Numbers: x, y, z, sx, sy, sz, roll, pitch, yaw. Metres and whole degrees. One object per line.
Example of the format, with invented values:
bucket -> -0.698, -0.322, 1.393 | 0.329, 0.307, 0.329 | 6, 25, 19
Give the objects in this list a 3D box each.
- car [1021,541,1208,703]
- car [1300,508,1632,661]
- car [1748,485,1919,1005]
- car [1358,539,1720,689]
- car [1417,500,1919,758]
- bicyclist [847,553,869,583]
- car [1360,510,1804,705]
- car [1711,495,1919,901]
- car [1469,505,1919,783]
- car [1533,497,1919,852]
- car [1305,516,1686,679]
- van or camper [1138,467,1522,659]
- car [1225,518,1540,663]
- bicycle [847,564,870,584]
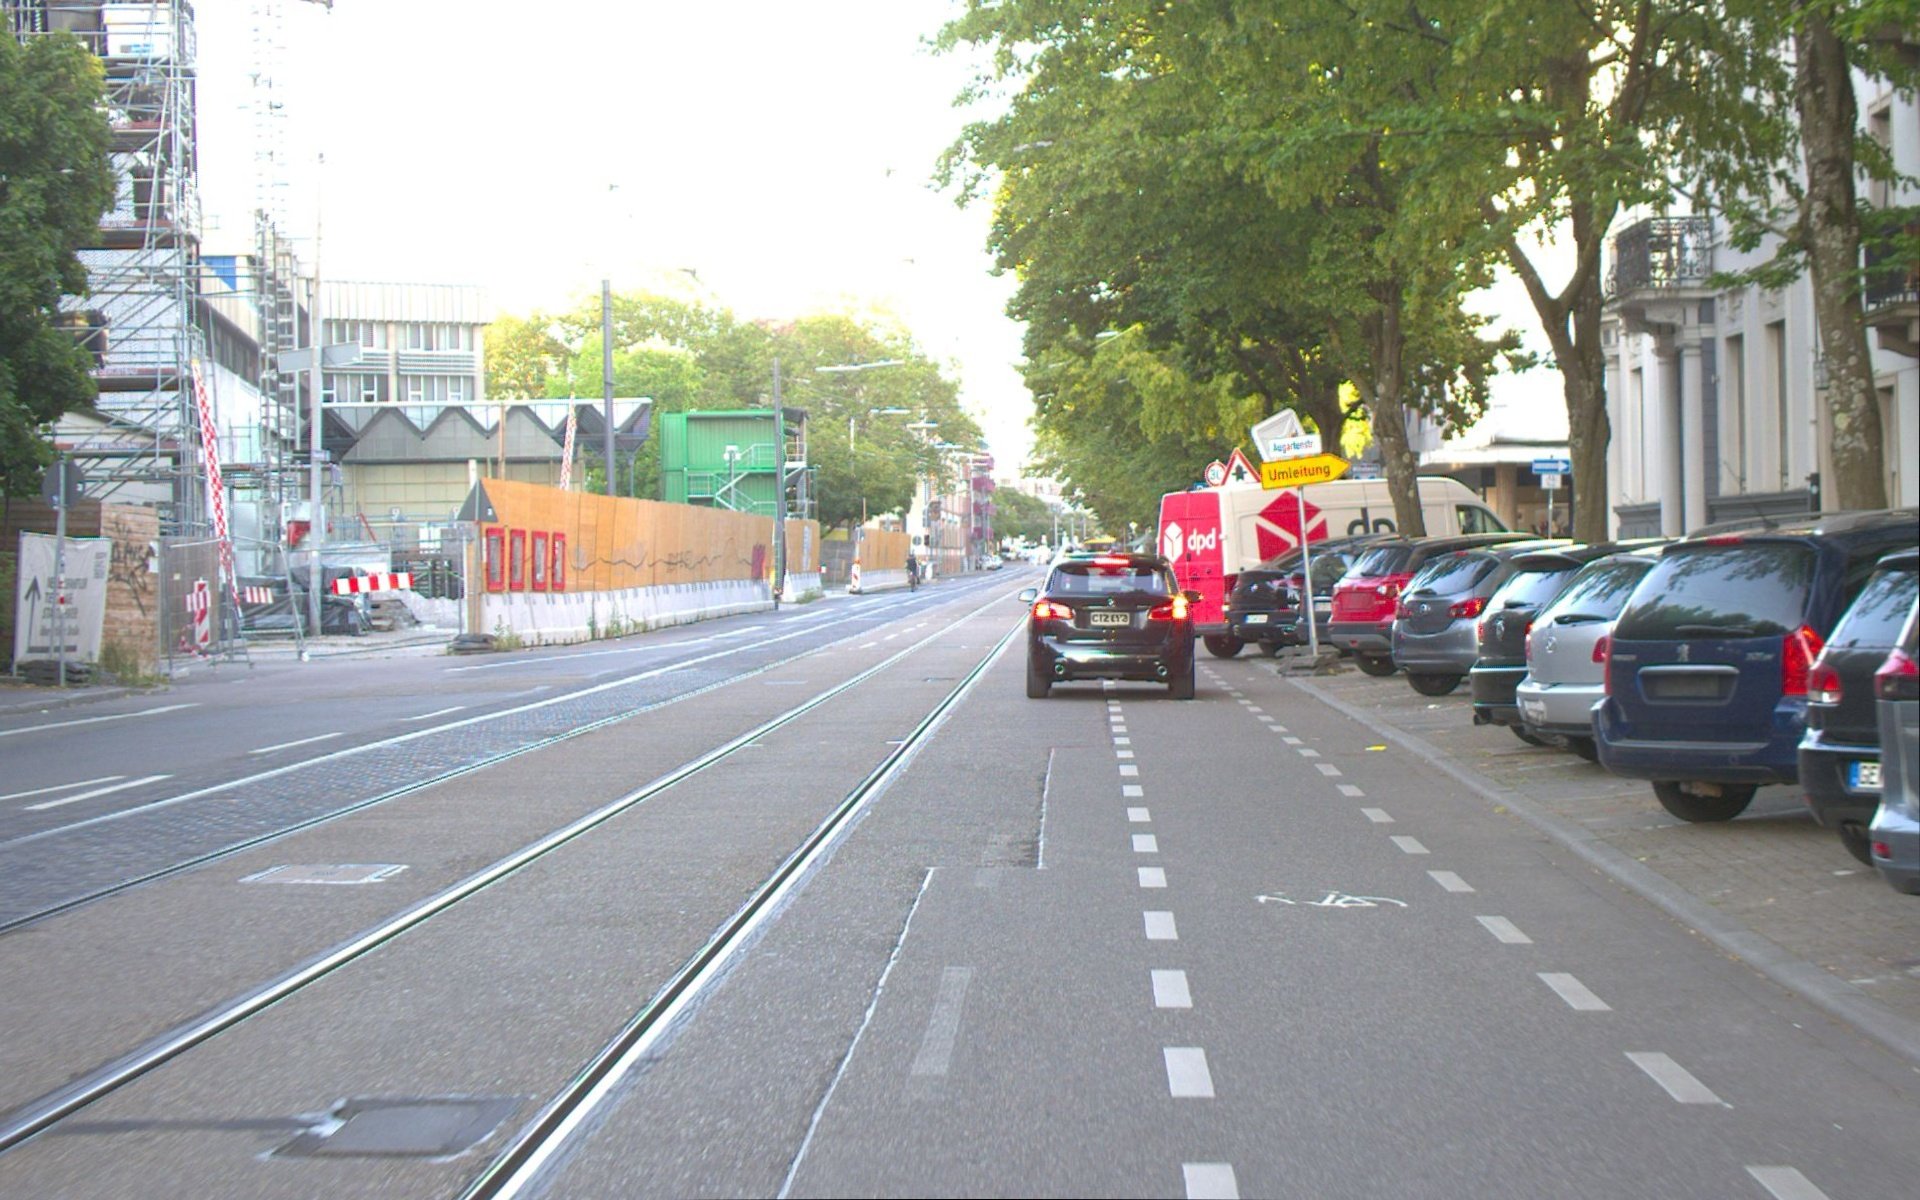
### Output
car -> 1.656, 0.195, 37.501 | 1.882, 1.614, 4.000 | 2, 1, 2
car -> 6.798, -0.202, 46.193 | 3.941, 1.759, 1.841 | -4, 1, -24
car -> 4.846, 0.345, 11.841 | 3.943, 1.663, 1.901 | -4, 1, -34
car -> 6.310, 0.147, 37.378 | 3.640, 1.440, 1.659 | -3, 0, -32
car -> 5.466, 0.168, 24.675 | 3.942, 1.598, 1.840 | -4, 0, -29
bicyclist -> -4.557, -1.444, 154.151 | 0.944, 1.341, 1.111 | -1, 1, -1
car -> 6.141, 0.064, 33.865 | 3.942, 1.598, 1.840 | -4, 1, -29
car -> 5.414, 0.241, 14.913 | 3.942, 1.598, 1.747 | -6, 2, -29
car -> 5.473, 0.228, 22.290 | 3.942, 1.598, 1.840 | -3, 0, -30
car -> 5.155, 0.261, 17.789 | 3.942, 1.598, 1.840 | -5, 1, -29
car -> 6.269, -0.030, 40.232 | 3.941, 1.598, 1.841 | -4, 1, -24
van or camper -> 5.641, -0.575, 52.111 | 5.532, 2.522, 2.086 | -4, 1, -32
car -> 5.976, -0.134, 48.640 | 3.941, 1.759, 1.841 | -4, 1, -24
bicycle -> -4.569, -1.191, 154.928 | 0.948, 0.846, 2.697 | -1, 1, -1
